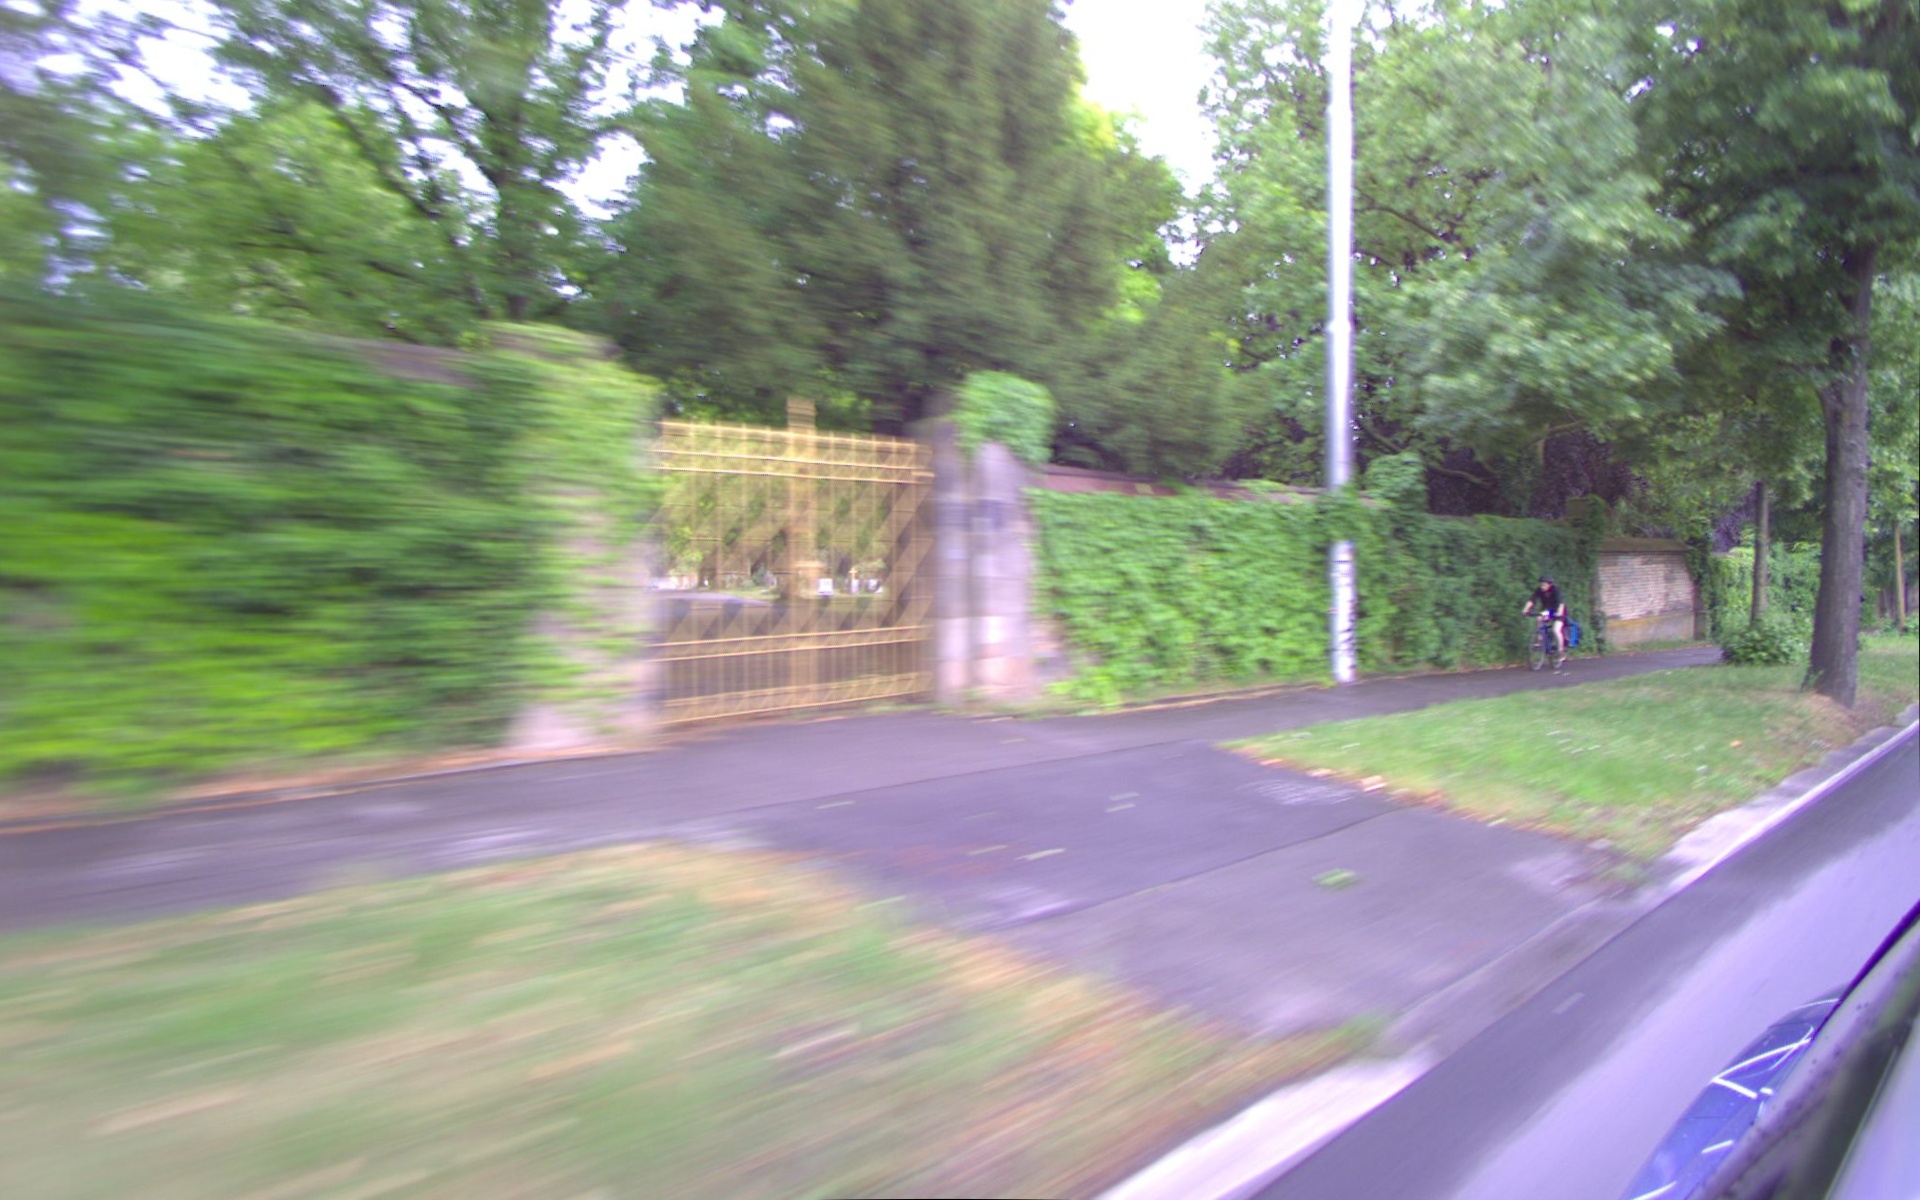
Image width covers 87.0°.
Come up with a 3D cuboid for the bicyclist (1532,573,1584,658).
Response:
[{"bbox_3d":[10.233,0.257,17.313,0.654,1.406,0.536,0,2,-38],"label":"bicyclist"}]

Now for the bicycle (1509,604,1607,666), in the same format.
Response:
[{"bbox_3d":[10.315,0.576,17.411,2.502,0.960,0.544,0,2,-38],"label":"bicycle"}]
